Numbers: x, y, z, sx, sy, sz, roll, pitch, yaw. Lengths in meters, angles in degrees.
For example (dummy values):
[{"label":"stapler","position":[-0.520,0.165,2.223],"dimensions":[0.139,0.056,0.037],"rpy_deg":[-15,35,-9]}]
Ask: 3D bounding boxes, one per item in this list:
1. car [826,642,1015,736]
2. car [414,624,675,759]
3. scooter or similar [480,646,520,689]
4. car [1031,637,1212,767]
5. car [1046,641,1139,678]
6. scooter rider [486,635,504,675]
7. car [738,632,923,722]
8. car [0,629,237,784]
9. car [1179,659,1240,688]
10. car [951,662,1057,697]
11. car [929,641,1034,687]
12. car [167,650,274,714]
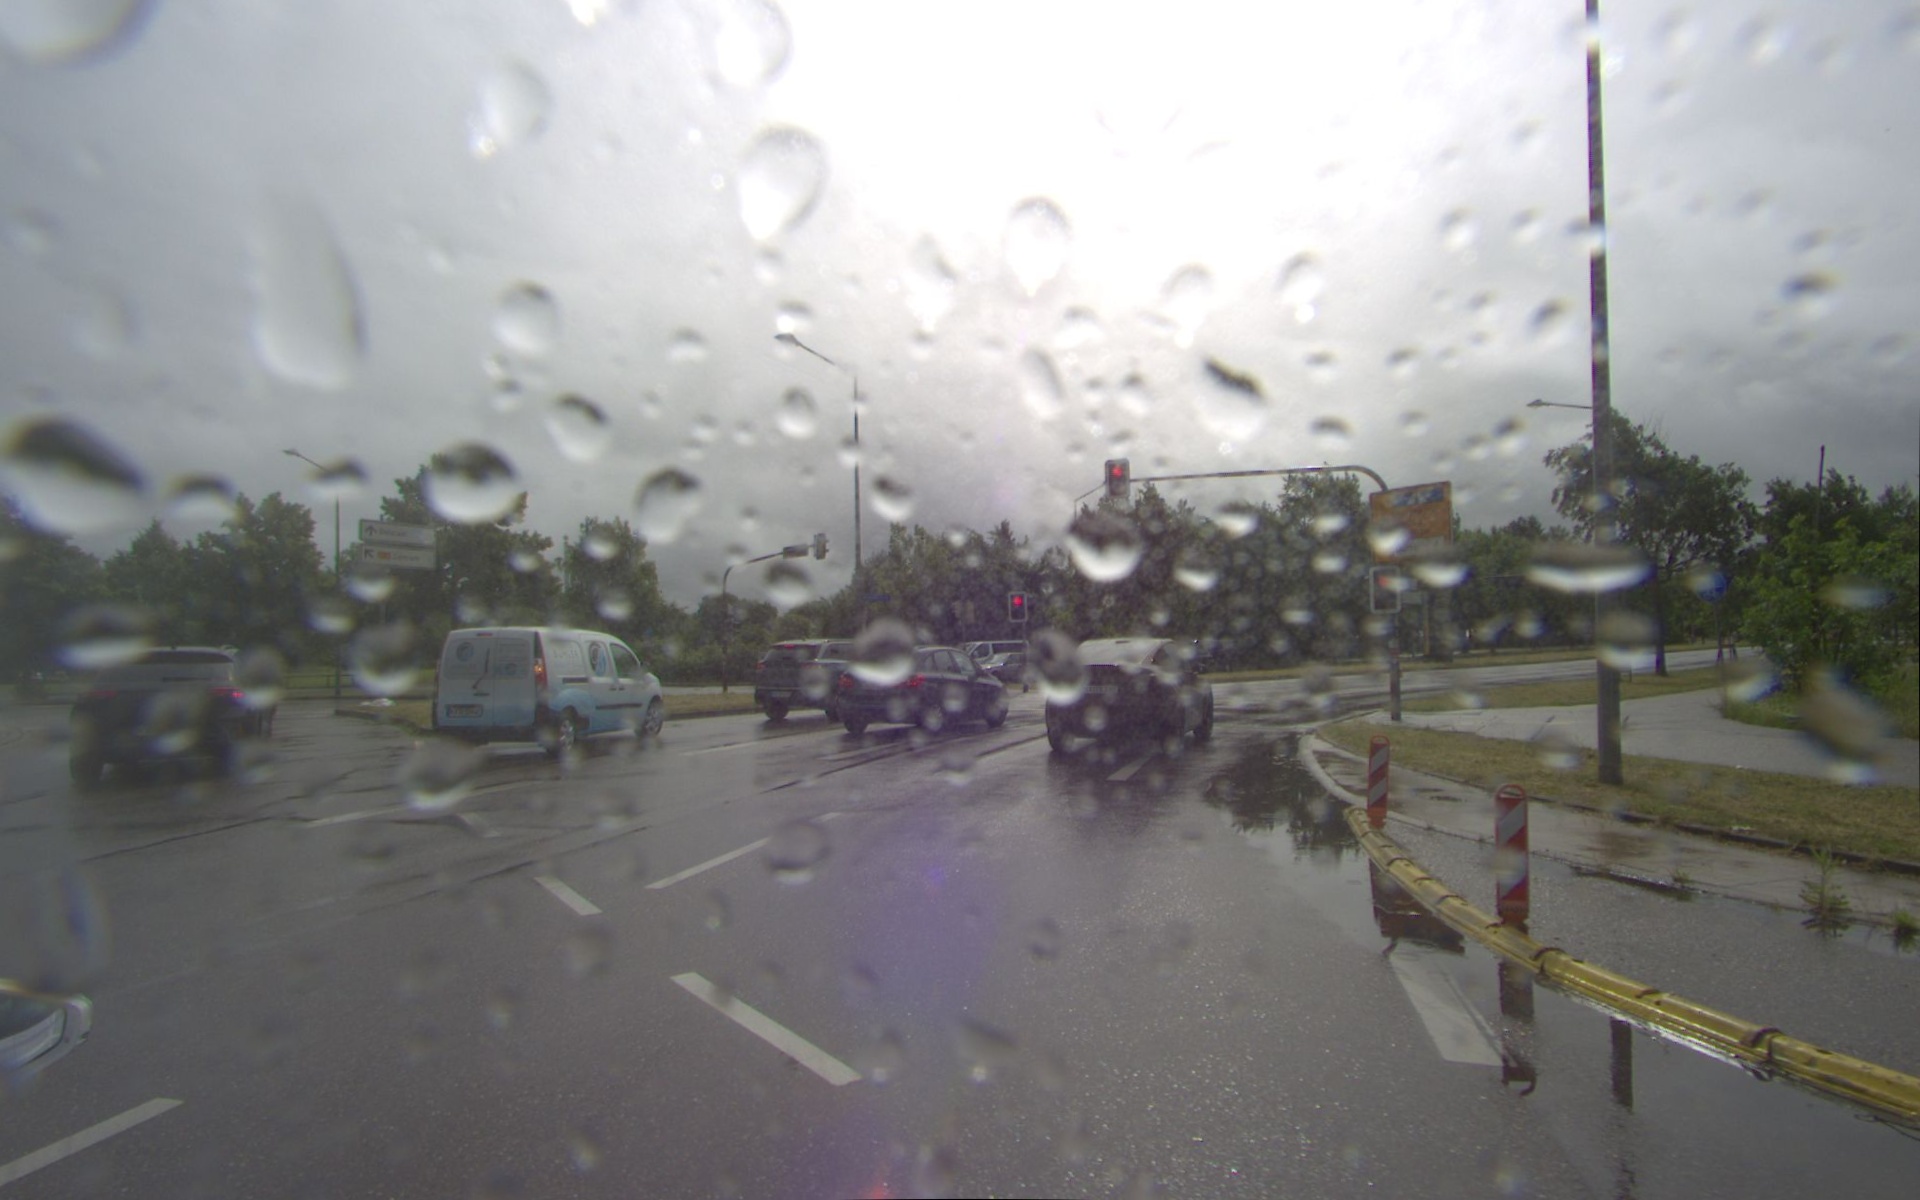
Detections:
[{"label":"car","position":[-0.610,1.564,18.667],"dimensions":[1.782,1.547,3.986],"rpy_deg":[-2,-3,27]},{"label":"car","position":[-6.191,1.325,15.611],"dimensions":[1.831,1.784,4.554],"rpy_deg":[0,-3,5]},{"label":"scooter or similar","position":[-23.048,3.394,50.175],"dimensions":[1.224,2.037,3.389],"rpy_deg":[2,-5,-35]},{"label":"car","position":[2.661,1.428,15.508],"dimensions":[1.843,1.678,4.490],"rpy_deg":[-1,-2,22]},{"label":"car","position":[6.270,2.760,47.176],"dimensions":[4.438,1.555,1.853],"rpy_deg":[0,-2,-40]},{"label":"scooter rider","position":[-23.704,2.807,51.025],"dimensions":[0.696,2.037,0.767],"rpy_deg":[1,-5,-32]},{"label":"car","position":[-2.761,1.617,22.317],"dimensions":[2.010,1.780,4.307],"rpy_deg":[-1,-2,27]},{"label":"car","position":[-10.477,1.271,12.739],"dimensions":[1.879,1.637,3.978],"rpy_deg":[1,-4,-33]},{"label":"car","position":[14.221,4.142,56.922],"dimensions":[3.501,1.529,1.619],"rpy_deg":[1,-3,-40]},{"label":"car","position":[1.943,3.392,43.172],"dimensions":[4.502,1.397,1.853],"rpy_deg":[2,-3,-40]},{"label":"car","position":[1.027,2.944,46.449],"dimensions":[4.749,2.012,2.061],"rpy_deg":[2,-3,-41]},{"label":"car","position":[-19.145,2.047,25.880],"dimensions":[1.704,1.481,3.961],"rpy_deg":[1,-3,-44]}]
